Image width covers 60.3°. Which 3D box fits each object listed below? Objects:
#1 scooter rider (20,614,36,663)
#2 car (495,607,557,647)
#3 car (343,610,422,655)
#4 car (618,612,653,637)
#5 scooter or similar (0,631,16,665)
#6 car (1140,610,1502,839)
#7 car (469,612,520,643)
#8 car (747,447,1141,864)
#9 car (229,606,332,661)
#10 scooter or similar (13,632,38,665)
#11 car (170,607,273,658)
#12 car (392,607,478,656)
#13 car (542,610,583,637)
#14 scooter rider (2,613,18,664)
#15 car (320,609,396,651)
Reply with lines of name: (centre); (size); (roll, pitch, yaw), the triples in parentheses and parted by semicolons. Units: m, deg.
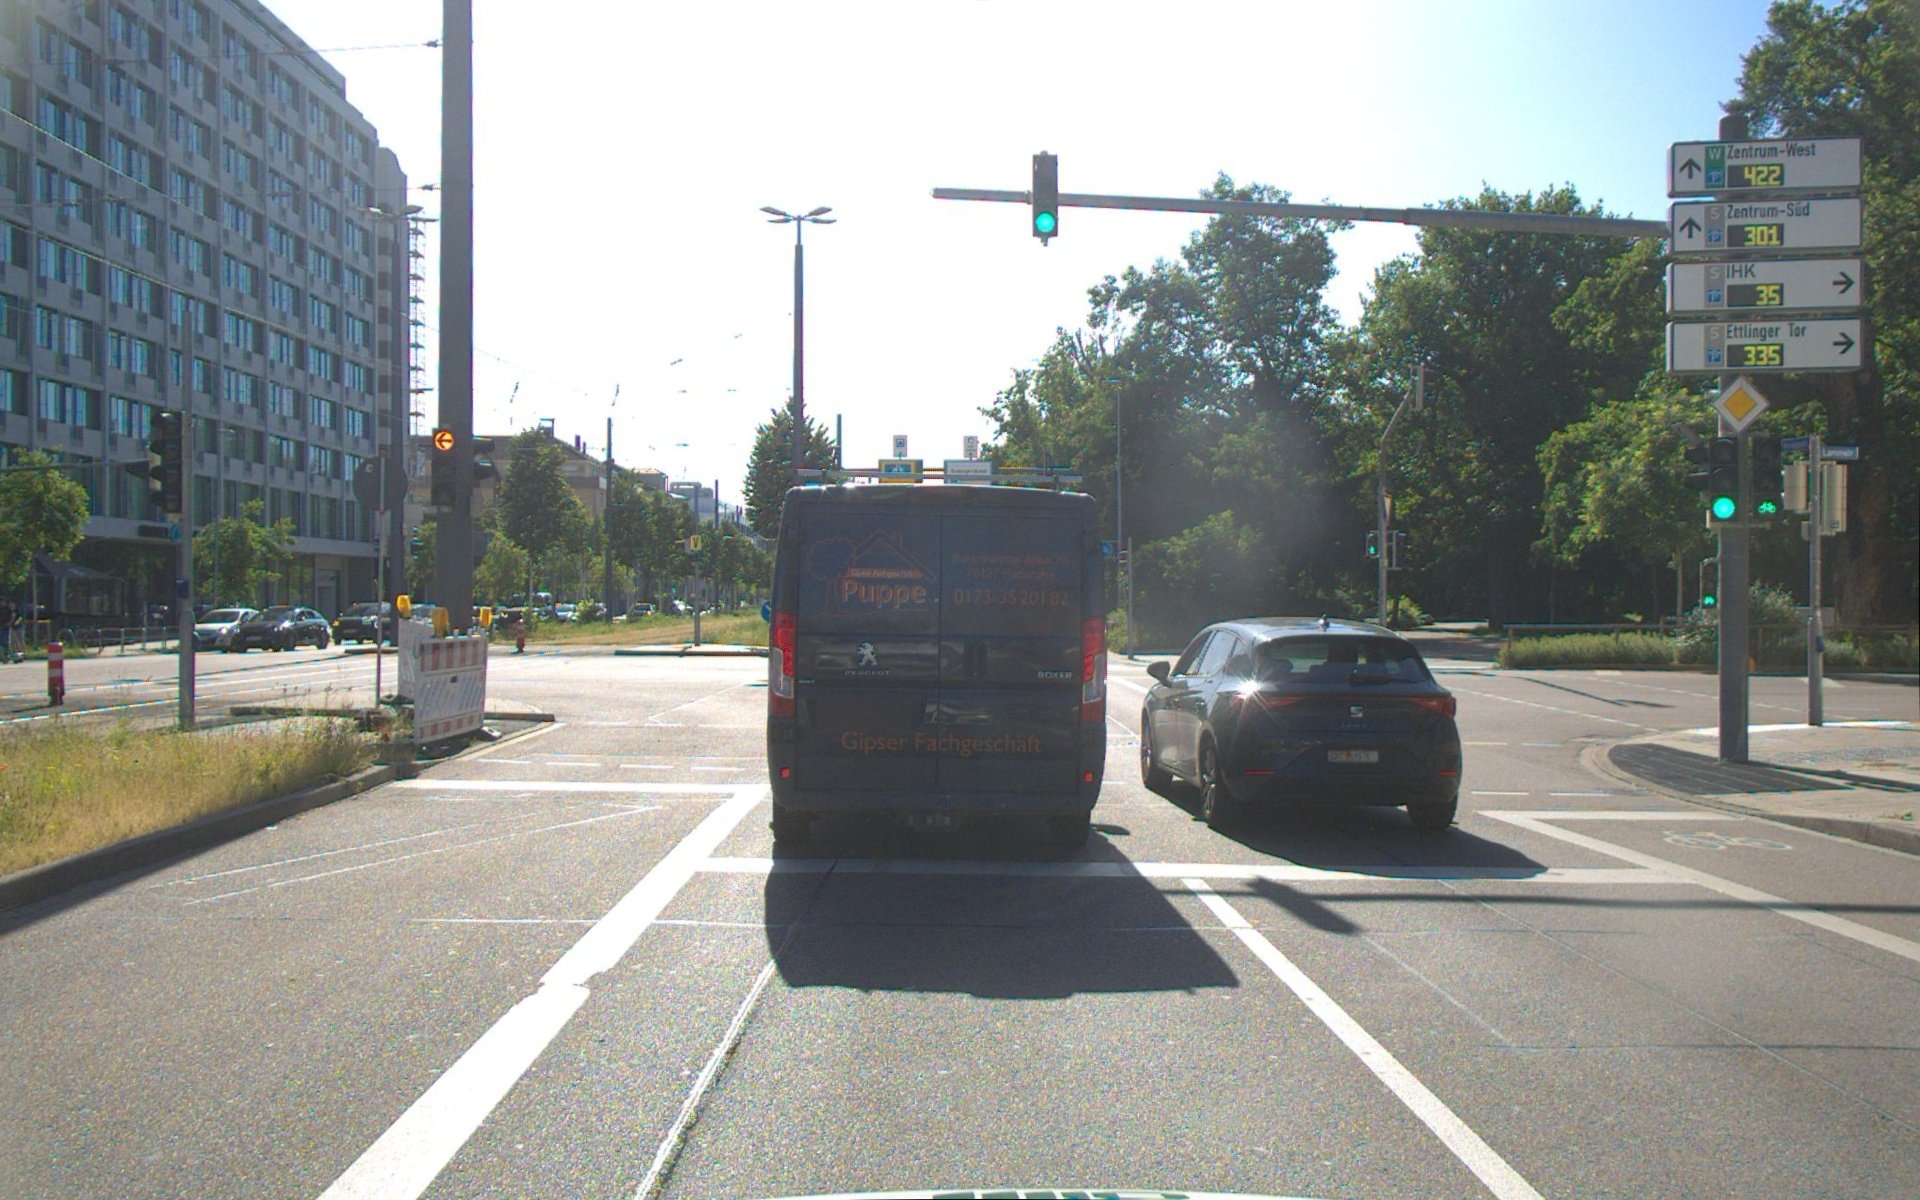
scooter rider: (-28.367, 1.158, 50.328); (0.335, 1.478, 0.239); (0, 0, -1)
car: (-19.460, 1.189, 74.289); (1.754, 1.680, 3.999); (0, 0, -1)
car: (-22.762, 1.272, 65.315); (1.754, 1.680, 3.999); (0, 0, -1)
car: (-23.268, 1.735, 118.770); (1.754, 1.680, 3.999); (0, 0, -1)
scooter or similar: (-27.918, 1.409, 48.318); (0.224, 0.964, 0.767); (0, 0, -1)
car: (2.552, 0.822, 12.625); (1.756, 1.453, 3.848); (1, 0, -3)
car: (-26.112, 1.522, 92.845); (1.754, 1.680, 3.999); (0, 0, -1)
car: (-0.168, 0.298, 11.546); (2.173, 2.307, 4.482); (1, 0, -2)
car: (-22.216, 1.066, 54.204); (1.754, 1.680, 3.999); (0, 0, -1)
scooter or similar: (-28.476, 1.480, 50.389); (0.279, 0.964, 0.768); (0, 0, 6)
car: (-25.181, 1.080, 56.530); (1.754, 1.680, 3.999); (0, 0, -1)
car: (-18.938, 1.101, 59.881); (1.754, 1.680, 4.334); (0, 0, -1)
car: (-26.294, 1.546, 109.414); (1.754, 1.680, 3.999); (0, 0, -1)
scooter rider: (-27.780, 1.117, 48.377); (0.335, 1.478, 0.239); (0, 0, -1)
car: (-25.428, 1.240, 69.993); (1.754, 1.680, 3.999); (0, 0, -1)
